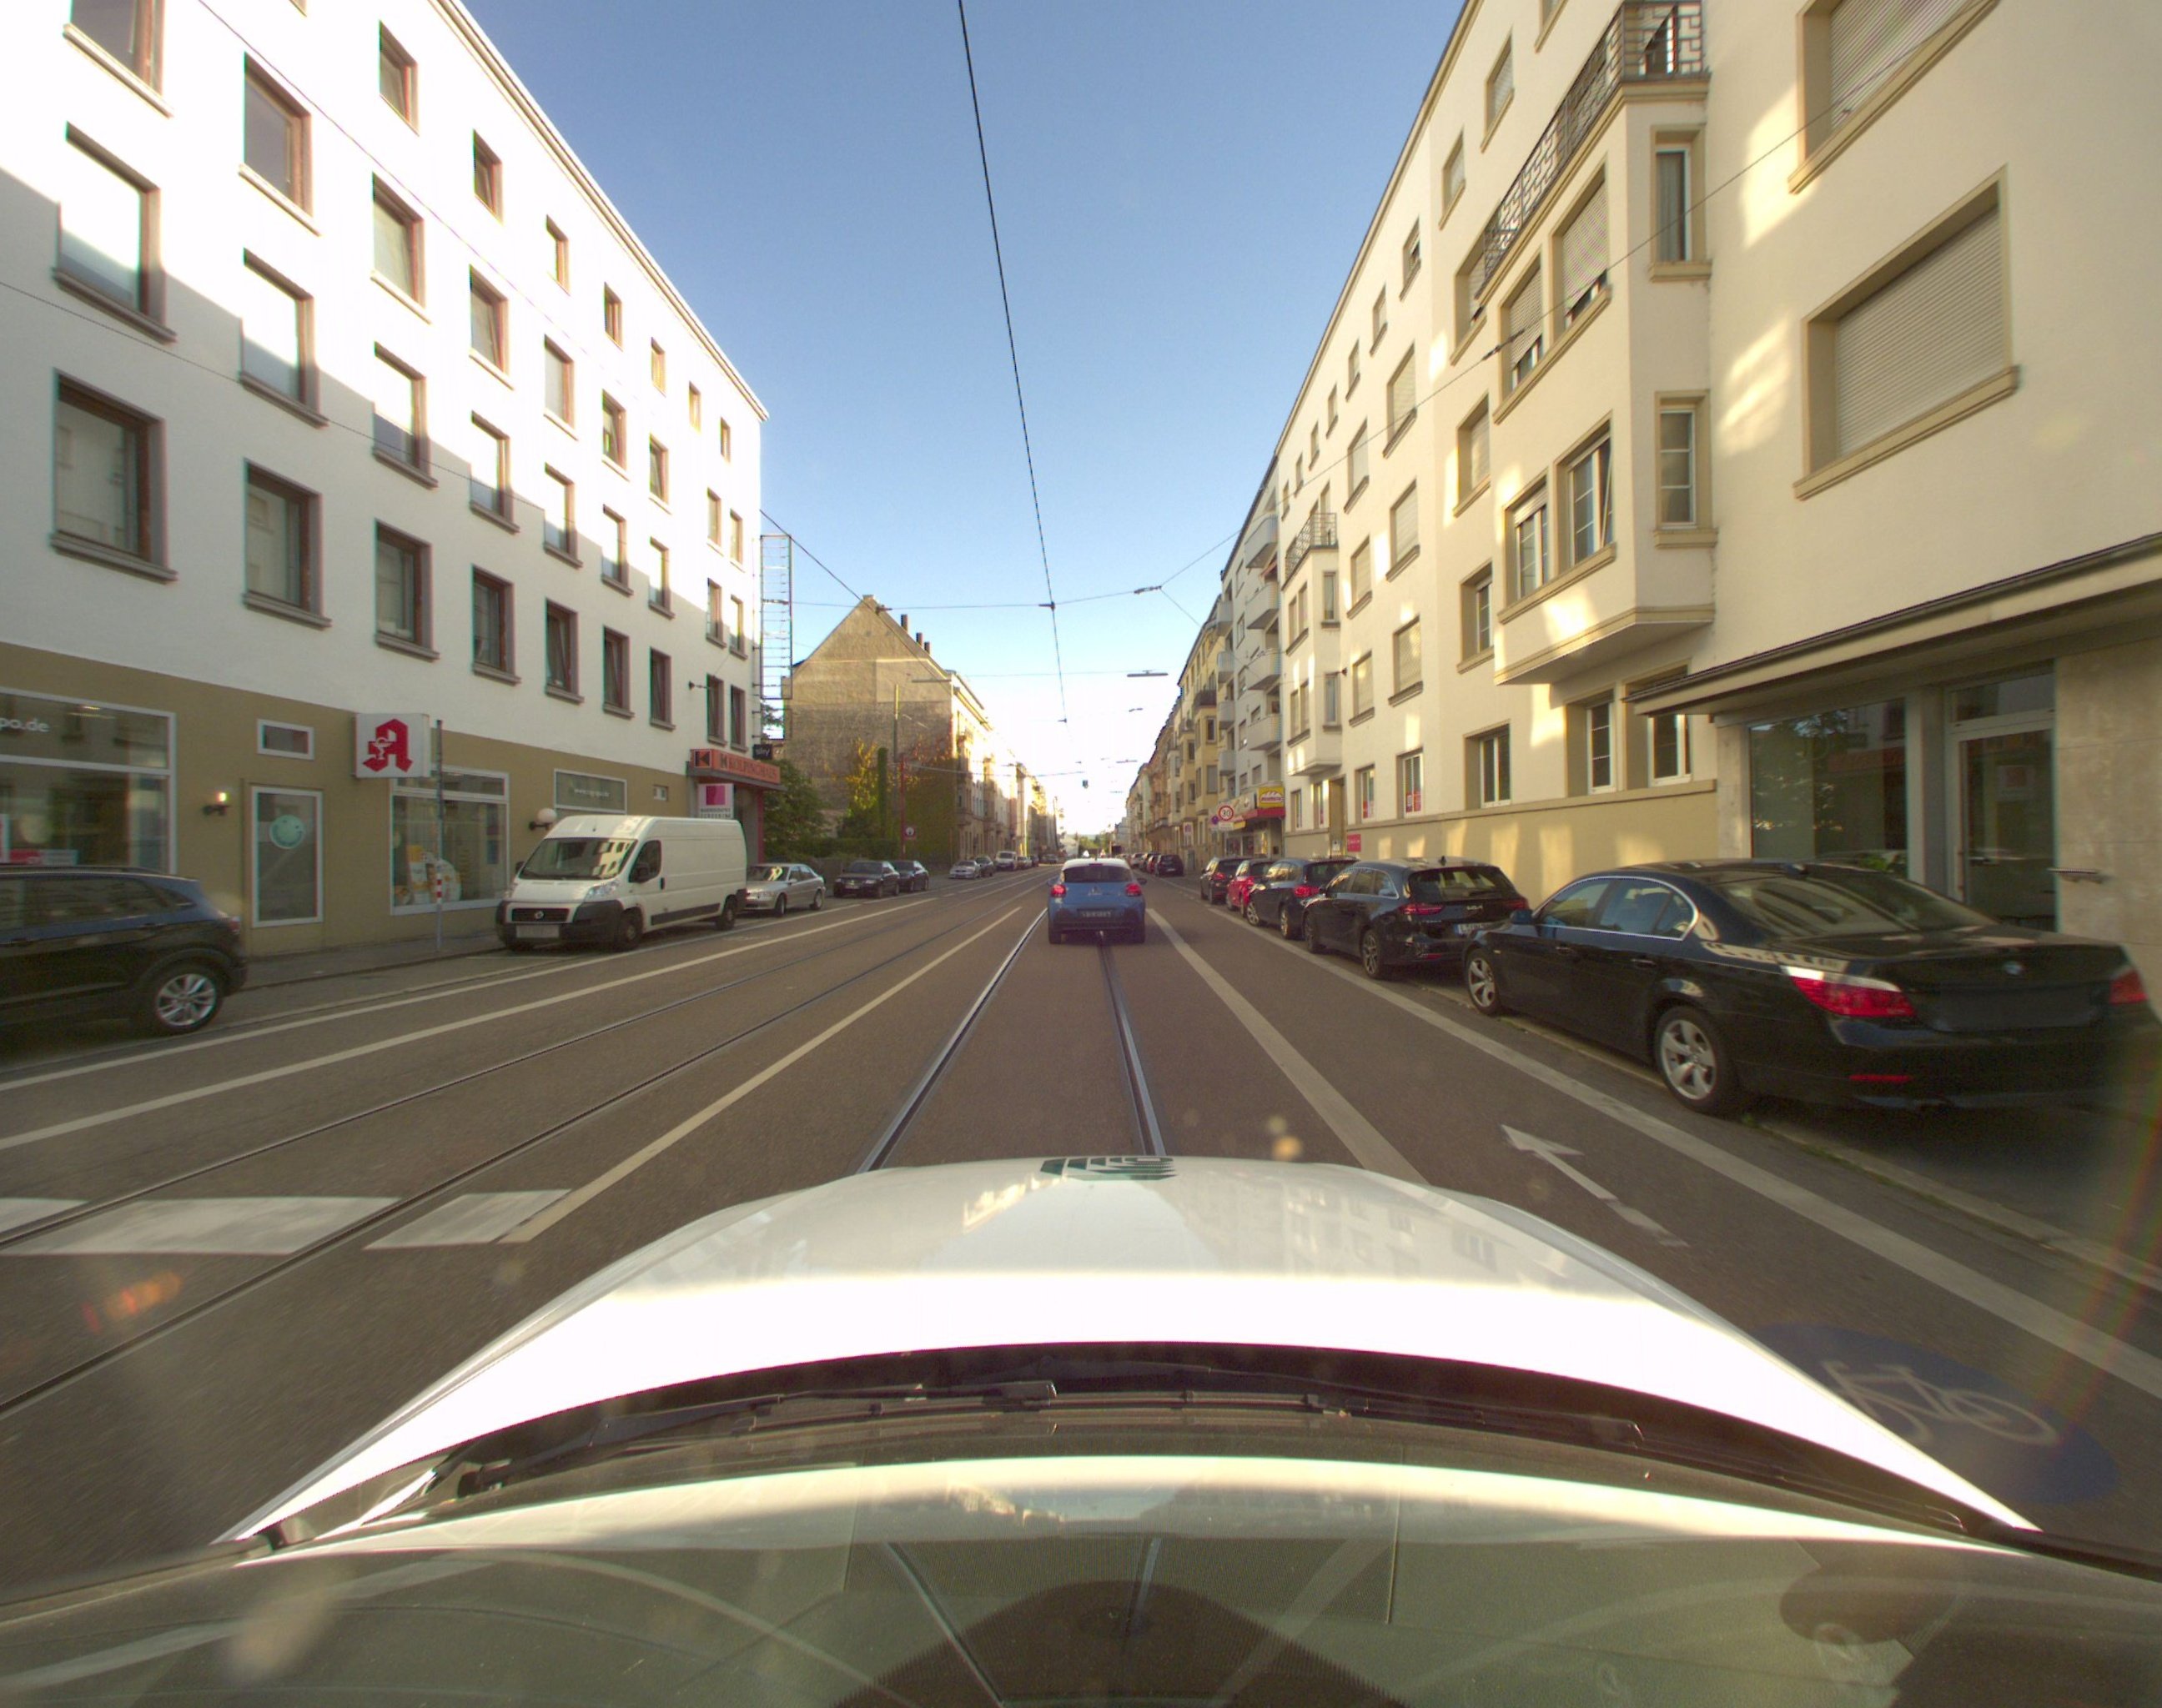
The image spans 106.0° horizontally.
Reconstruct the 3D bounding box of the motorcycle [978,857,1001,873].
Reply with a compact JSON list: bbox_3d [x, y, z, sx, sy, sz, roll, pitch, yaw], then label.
[{"bbox_3d":[-7.766,0.919,69.012,0.875,1.351,1.970,0,0,34],"label":"motorcycle"}]

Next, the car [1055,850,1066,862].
[{"bbox_3d":[-4.431,0.479,175.956,2.138,2.475,4.978,1,0,-1],"label":"car"}]

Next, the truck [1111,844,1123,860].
[{"bbox_3d":[9.422,-0.531,212.430,2.842,4.083,11.277,-1,0,3],"label":"truck"}]

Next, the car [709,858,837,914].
[{"bbox_3d":[-8.676,0.849,23.428,1.776,1.398,4.448,1,0,3],"label":"car"}]

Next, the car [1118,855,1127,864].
[{"bbox_3d":[8.635,1.251,170.579,1.724,1.827,4.688,-1,0,2],"label":"car"}]

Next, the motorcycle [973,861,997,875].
[{"bbox_3d":[-7.885,1.133,67.105,0.732,1.171,2.193,0,0,31],"label":"motorcycle"}]

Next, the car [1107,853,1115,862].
[{"bbox_3d":[6.769,0.789,183.696,1.814,1.894,4.001,0,0,1],"label":"car"}]

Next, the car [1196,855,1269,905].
[{"bbox_3d":[4.832,0.794,26.557,1.703,1.407,4.361,-3,0,3],"label":"car"}]

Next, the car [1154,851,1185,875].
[{"bbox_3d":[5.957,0.610,54.979,1.712,1.491,4.003,-2,0,2],"label":"car"}]

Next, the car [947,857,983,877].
[{"bbox_3d":[-8.096,0.868,56.998,1.777,1.314,4.222,1,0,1],"label":"car"}]

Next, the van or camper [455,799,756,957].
[{"bbox_3d":[-8.827,0.390,16.121,2.164,2.467,6.232,1,0,1],"label":"van or camper"}]

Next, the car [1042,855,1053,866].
[{"bbox_3d":[-5.828,1.121,141.949,1.778,1.690,4.666,1,0,-1],"label":"car"}]

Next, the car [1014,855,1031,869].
[{"bbox_3d":[-6.847,0.939,95.893,1.766,1.547,4.364,1,0,-1],"label":"car"}]

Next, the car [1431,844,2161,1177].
[{"bbox_3d":[4.585,0.761,6.346,1.741,1.507,4.922,-3,0,3],"label":"car"}]

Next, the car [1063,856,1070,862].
[{"bbox_3d":[-3.960,1.381,223.092,1.819,1.632,4.850,-1,0,2],"label":"car"}]

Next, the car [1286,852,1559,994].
[{"bbox_3d":[4.446,0.799,11.505,1.852,1.507,4.504,-3,0,-1],"label":"car"}]

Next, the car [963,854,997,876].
[{"bbox_3d":[-7.695,0.807,62.352,1.775,1.565,4.614,1,0,3],"label":"car"}]

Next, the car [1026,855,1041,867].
[{"bbox_3d":[-6.478,0.988,111.055,1.778,1.606,4.396,1,0,-1],"label":"car"}]

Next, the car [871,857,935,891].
[{"bbox_3d":[-8.245,0.876,38.188,1.776,1.446,4.843,1,0,2],"label":"car"}]

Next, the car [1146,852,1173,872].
[{"bbox_3d":[6.059,0.610,63.433,1.851,1.455,4.713,-1,0,3],"label":"car"}]

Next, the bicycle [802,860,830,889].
[{"bbox_3d":[-11.226,0.859,34.602,0.438,1.174,2.051,0,-1,2],"label":"bicycle"}]

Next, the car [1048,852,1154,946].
[{"bbox_3d":[0.386,0.756,15.548,1.728,1.507,3.994,1,0,2],"label":"car"}]

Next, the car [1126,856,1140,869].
[{"bbox_3d":[6.845,1.120,107.649,1.746,1.594,3.732,-1,0,3],"label":"car"}]

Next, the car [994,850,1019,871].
[{"bbox_3d":[-7.312,0.655,80.505,1.966,1.949,5.252,1,0,0],"label":"car"}]

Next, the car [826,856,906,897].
[{"bbox_3d":[-8.332,0.827,32.002,1.777,1.481,4.700,1,0,1],"label":"car"}]

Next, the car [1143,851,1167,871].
[{"bbox_3d":[6.285,0.580,69.629,1.851,1.665,4.564,-1,0,3],"label":"car"}]

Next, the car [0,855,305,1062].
[{"bbox_3d":[-9.175,0.806,6.601,1.776,1.552,3.995,1,0,3],"label":"car"}]

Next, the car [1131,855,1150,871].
[{"bbox_3d":[6.325,0.950,86.493,1.836,1.691,4.506,-1,0,2],"label":"car"}]

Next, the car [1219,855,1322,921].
[{"bbox_3d":[4.814,0.815,21.238,1.850,1.473,3.991,-3,0,3],"label":"car"}]

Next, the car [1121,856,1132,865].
[{"bbox_3d":[7.864,1.103,141.467,1.777,1.632,4.001,-1,0,2],"label":"car"}]

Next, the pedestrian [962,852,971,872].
[{"bbox_3d":[-9.947,0.674,71.064,0.677,1.724,0.616,0,-1,1],"label":"pedestrian"}]

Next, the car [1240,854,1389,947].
[{"bbox_3d":[4.408,0.808,16.035,1.850,1.507,4.098,-3,0,3],"label":"car"}]

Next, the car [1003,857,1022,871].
[{"bbox_3d":[-7.199,1.051,86.022,1.597,1.473,3.647,1,0,1],"label":"car"}]

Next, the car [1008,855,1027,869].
[{"bbox_3d":[-7.060,0.868,90.729,1.777,1.523,4.360,1,0,0],"label":"car"}]

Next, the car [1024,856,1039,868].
[{"bbox_3d":[-6.492,1.029,106.904,1.777,1.553,3.020,1,0,1],"label":"car"}]
